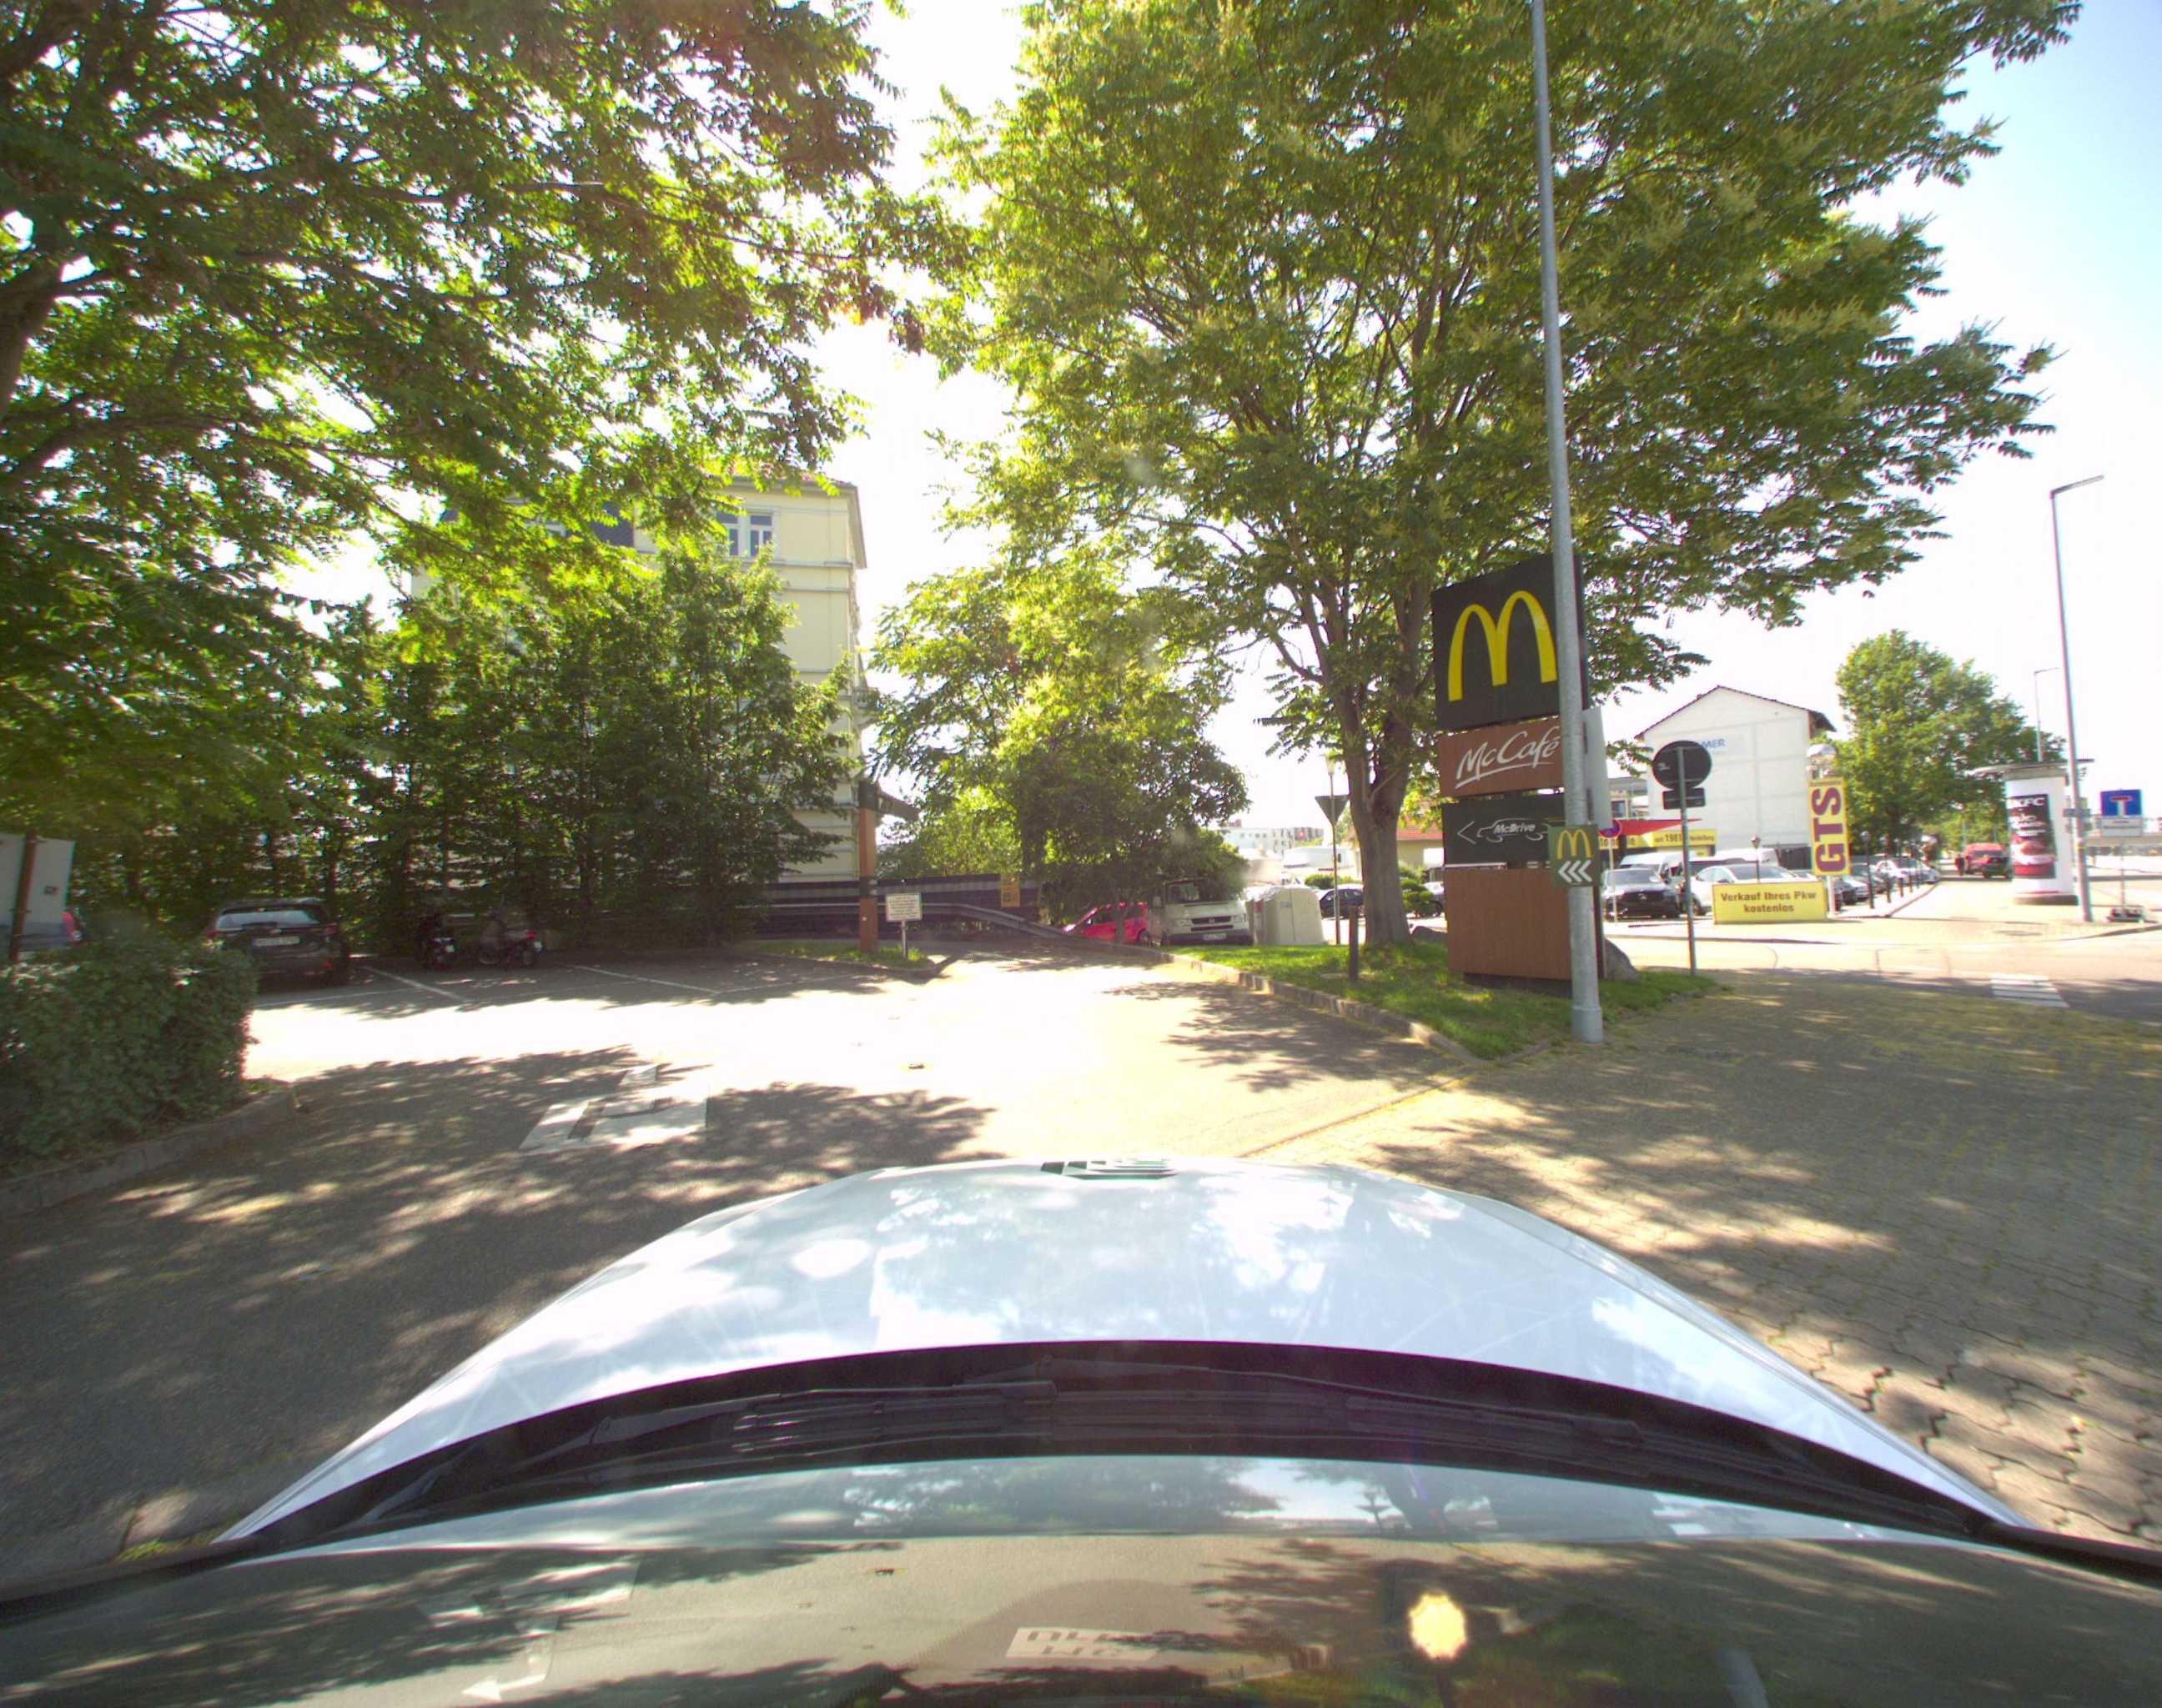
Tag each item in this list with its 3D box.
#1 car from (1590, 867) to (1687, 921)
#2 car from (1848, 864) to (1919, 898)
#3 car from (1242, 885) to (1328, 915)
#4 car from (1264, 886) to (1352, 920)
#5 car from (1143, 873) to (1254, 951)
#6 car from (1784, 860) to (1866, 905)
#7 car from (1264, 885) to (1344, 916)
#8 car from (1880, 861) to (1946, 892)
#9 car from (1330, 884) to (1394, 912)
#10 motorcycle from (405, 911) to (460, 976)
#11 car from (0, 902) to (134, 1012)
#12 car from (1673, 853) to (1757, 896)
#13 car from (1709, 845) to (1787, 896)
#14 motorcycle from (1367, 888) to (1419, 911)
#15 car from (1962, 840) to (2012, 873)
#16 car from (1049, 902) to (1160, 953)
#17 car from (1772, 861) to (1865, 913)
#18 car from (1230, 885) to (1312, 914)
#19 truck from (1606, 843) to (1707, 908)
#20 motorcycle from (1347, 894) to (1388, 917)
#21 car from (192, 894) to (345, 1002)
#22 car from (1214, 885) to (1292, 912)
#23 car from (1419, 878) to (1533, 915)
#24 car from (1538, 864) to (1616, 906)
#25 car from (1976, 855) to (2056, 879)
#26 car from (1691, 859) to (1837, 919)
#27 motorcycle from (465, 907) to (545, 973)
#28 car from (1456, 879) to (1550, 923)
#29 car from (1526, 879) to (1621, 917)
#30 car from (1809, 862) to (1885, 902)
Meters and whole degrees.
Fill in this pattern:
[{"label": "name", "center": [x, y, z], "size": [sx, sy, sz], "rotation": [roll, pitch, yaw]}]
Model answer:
[{"label": "car", "center": [18.124, 1.289, 26.678], "size": [2.027, 1.595, 4.449], "rotation": [-2, -3, 27]}, {"label": "car", "center": [40.437, 1.346, 41.135], "size": [1.838, 1.629, 4.025], "rotation": [-3, -3, 35]}, {"label": "car", "center": [12.158, 2.724, 48.682], "size": [4.652, 1.726, 1.987], "rotation": [0, -3, -18]}, {"label": "car", "center": [12.001, 2.551, 43.157], "size": [3.989, 1.706, 1.992], "rotation": [0, -2, -12]}, {"label": "car", "center": [2.628, 1.272, 19.451], "size": [1.945, 1.583, 5.030], "rotation": [-1, -2, 0]}, {"label": "car", "center": [29.358, 1.123, 32.242], "size": [1.838, 1.629, 4.025], "rotation": [-3, -3, 35]}, {"label": "car", "center": [12.695, 2.628, 46.432], "size": [3.998, 1.726, 1.987], "rotation": [0, -3, -19]}, {"label": "car", "center": [47.009, 1.291, 46.087], "size": [1.838, 1.629, 4.025], "rotation": [-3, -3, 35]}, {"label": "car", "center": [17.014, 2.637, 49.537], "size": [1.993, 1.585, 3.987], "rotation": [0, -2, -9]}, {"label": "motorcycle", "center": [-12.265, 1.667, 15.386], "size": [1.585, 1.141, 0.478], "rotation": [-3, -2, 39]}, {"label": "car", "center": [-16.823, 1.580, 13.133], "size": [1.714, 1.453, 3.950], "rotation": [-1, -1, -45]}, {"label": "car", "center": [27.666, 0.871, 35.493], "size": [4.745, 1.738, 1.861], "rotation": [1, -2, -39]}, {"label": "car", "center": [32.309, 0.806, 39.413], "size": [4.736, 2.285, 2.117], "rotation": [1, -3, -42]}, {"label": "motorcycle", "center": [17.500, 2.547, 45.651], "size": [2.718, 1.227, 0.993], "rotation": [0, -3, -19]}, {"label": "car", "center": [74.974, 0.242, 67.361], "size": [5.144, 2.520, 2.516], "rotation": [1, -3, -40]}, {"label": "car", "center": [0.743, 2.390, 26.698], "size": [3.404, 1.379, 1.481], "rotation": [-2, -1, -10]}, {"label": "car", "center": [25.320, 1.121, 28.104], "size": [1.838, 1.629, 4.025], "rotation": [-3, -3, 35]}, {"label": "car", "center": [11.956, 2.834, 51.356], "size": [4.652, 1.726, 1.987], "rotation": [0, -3, -18]}, {"label": "truck", "center": [27.847, 1.025, 39.350], "size": [5.970, 2.904, 2.250], "rotation": [1, -2, -38]}, {"label": "motorcycle", "center": [15.113, 2.715, 43.008], "size": [1.862, 1.159, 0.790], "rotation": [-1, -3, 1]}, {"label": "car", "center": [-14.031, 1.495, 14.000], "size": [3.854, 1.470, 1.671], "rotation": [-2, -1, 42]}, {"label": "car", "center": [11.345, 2.936, 53.689], "size": [4.652, 1.726, 1.987], "rotation": [0, -3, -18]}, {"label": "car", "center": [17.933, 1.932, 37.152], "size": [4.291, 1.585, 2.006], "rotation": [-1, -2, 12]}, {"label": "car", "center": [25.308, 1.569, 41.484], "size": [4.518, 2.014, 1.976], "rotation": [1, -3, -40]}, {"label": "car", "center": [65.356, 0.928, 56.975], "size": [3.251, 1.638, 1.730], "rotation": [-1, -2, 9]}, {"label": "car", "center": [21.192, 1.097, 25.512], "size": [1.978, 1.726, 4.016], "rotation": [-1, -2, 16]}, {"label": "motorcycle", "center": [-10.855, 1.600, 15.330], "size": [1.585, 1.169, 0.573], "rotation": [-3, -2, 29]}, {"label": "car", "center": [15.911, 1.731, 30.608], "size": [4.021, 1.510, 1.772], "rotation": [1, -3, -41]}, {"label": "car", "center": [20.663, 1.826, 34.135], "size": [4.014, 1.487, 1.775], "rotation": [1, -3, -32]}, {"label": "car", "center": [33.649, 1.218, 35.887], "size": [1.838, 1.629, 4.025], "rotation": [-3, -3, 35]}]
